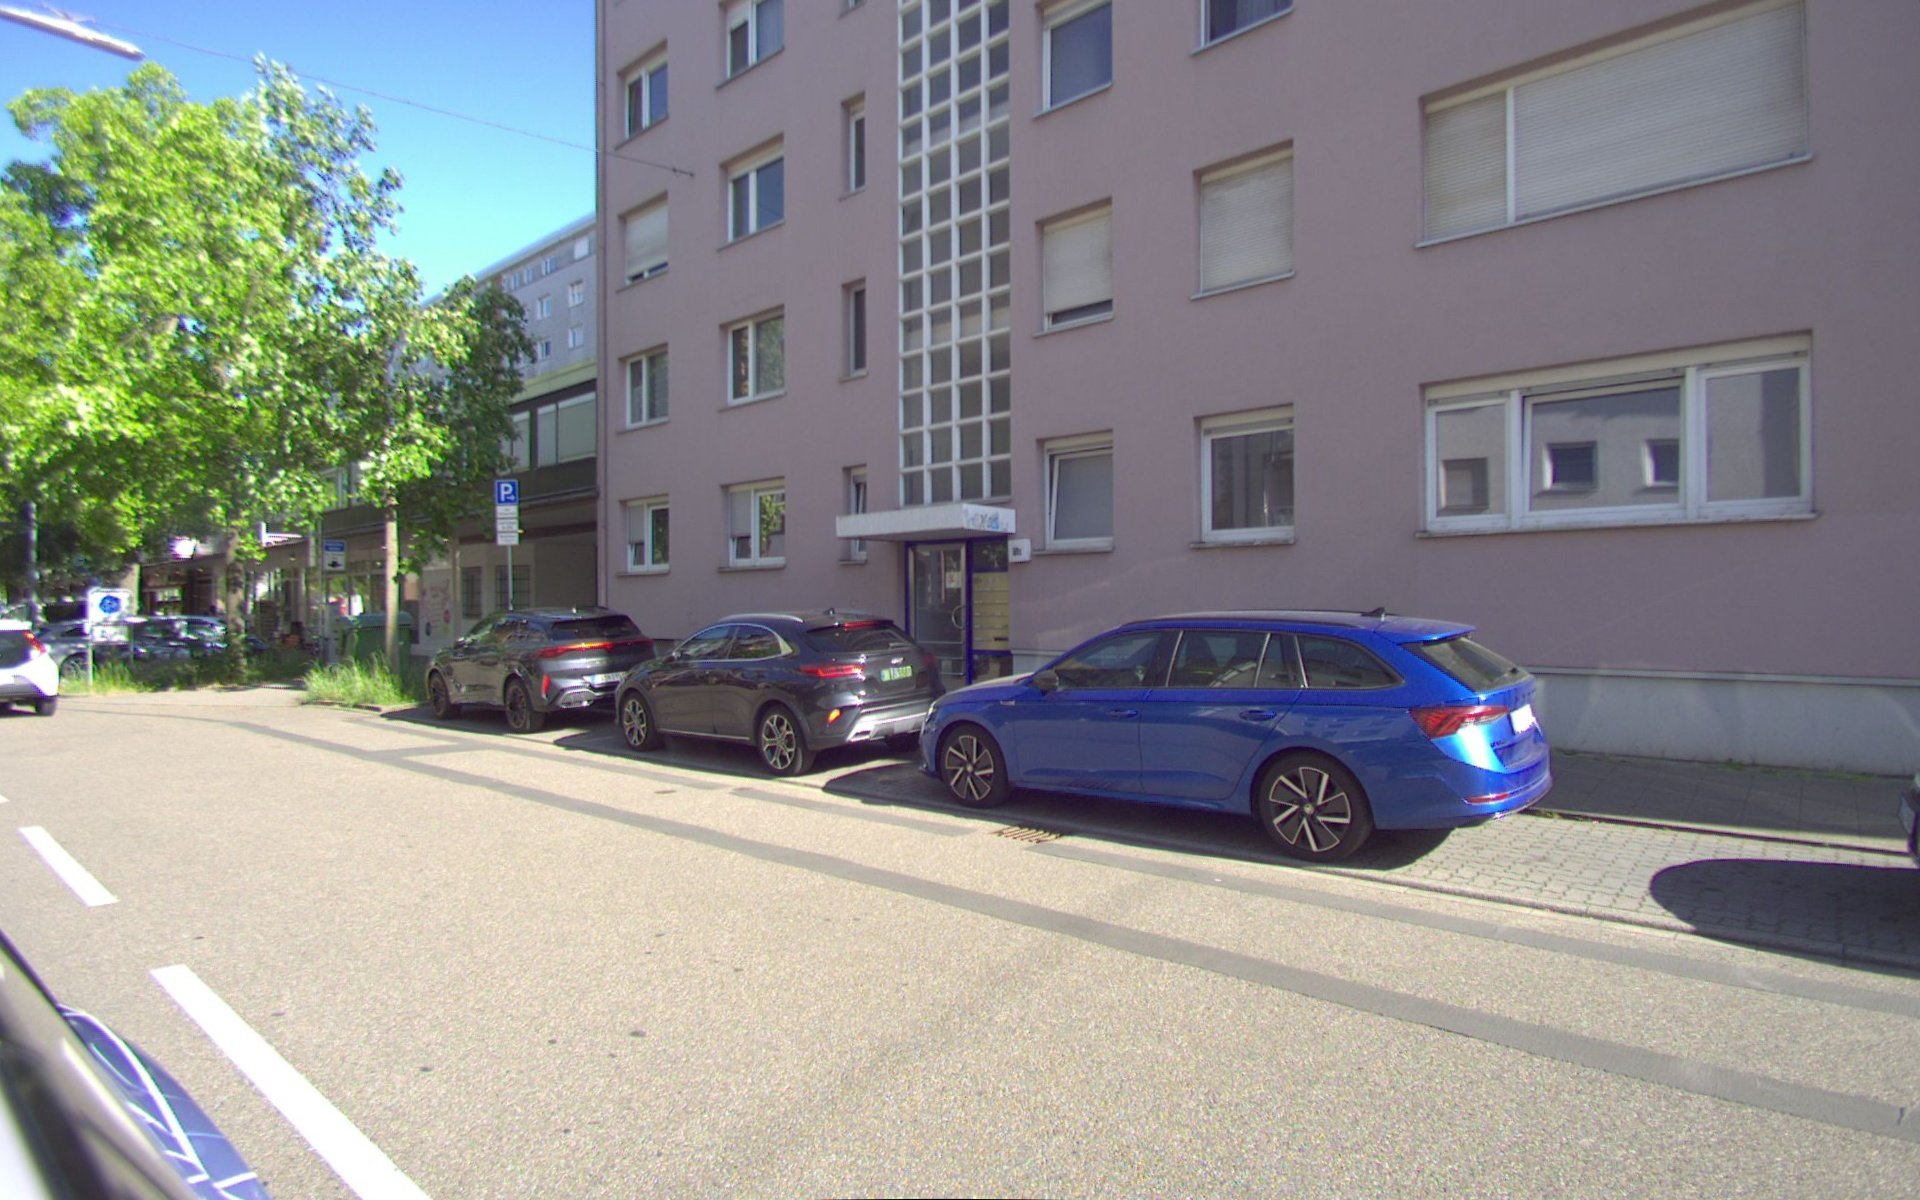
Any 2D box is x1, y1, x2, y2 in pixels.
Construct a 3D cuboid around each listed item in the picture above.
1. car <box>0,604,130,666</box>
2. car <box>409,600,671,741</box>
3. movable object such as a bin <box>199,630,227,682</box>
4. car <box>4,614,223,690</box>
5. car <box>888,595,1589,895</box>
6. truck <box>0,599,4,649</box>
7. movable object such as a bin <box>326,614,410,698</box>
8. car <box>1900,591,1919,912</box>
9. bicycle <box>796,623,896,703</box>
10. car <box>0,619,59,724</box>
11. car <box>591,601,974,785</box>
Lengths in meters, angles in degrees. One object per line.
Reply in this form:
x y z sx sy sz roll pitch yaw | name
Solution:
-31.274 1.164 34.832 1.999 2.047 3.945 -1 -1 41 | car
-6.045 0.887 14.334 4.141 1.604 1.798 -1 2 43 | car
-18.479 1.376 25.027 0.409 1.234 0.482 -1 -1 41 | movable object such as a bin
-20.963 1.222 25.173 1.999 1.687 3.945 -1 -1 41 | car
1.724 0.783 7.351 4.610 1.476 1.700 -1 1 41 | car
-52.420 1.243 51.431 1.993 2.615 5.266 -1 -1 31 | truck
-11.567 1.058 19.777 1.230 1.557 1.019 0 -1 -44 | movable object such as a bin
6.316 0.681 3.188 4.812 1.476 1.700 -1 1 41 | car
-1.680 0.887 14.714 1.649 1.084 0.386 -1 3 42 | bicycle
-15.839 1.088 15.889 3.778 1.548 1.750 -1 -1 36 | car
-2.041 0.834 10.802 4.245 1.519 1.798 -1 1 43 | car
